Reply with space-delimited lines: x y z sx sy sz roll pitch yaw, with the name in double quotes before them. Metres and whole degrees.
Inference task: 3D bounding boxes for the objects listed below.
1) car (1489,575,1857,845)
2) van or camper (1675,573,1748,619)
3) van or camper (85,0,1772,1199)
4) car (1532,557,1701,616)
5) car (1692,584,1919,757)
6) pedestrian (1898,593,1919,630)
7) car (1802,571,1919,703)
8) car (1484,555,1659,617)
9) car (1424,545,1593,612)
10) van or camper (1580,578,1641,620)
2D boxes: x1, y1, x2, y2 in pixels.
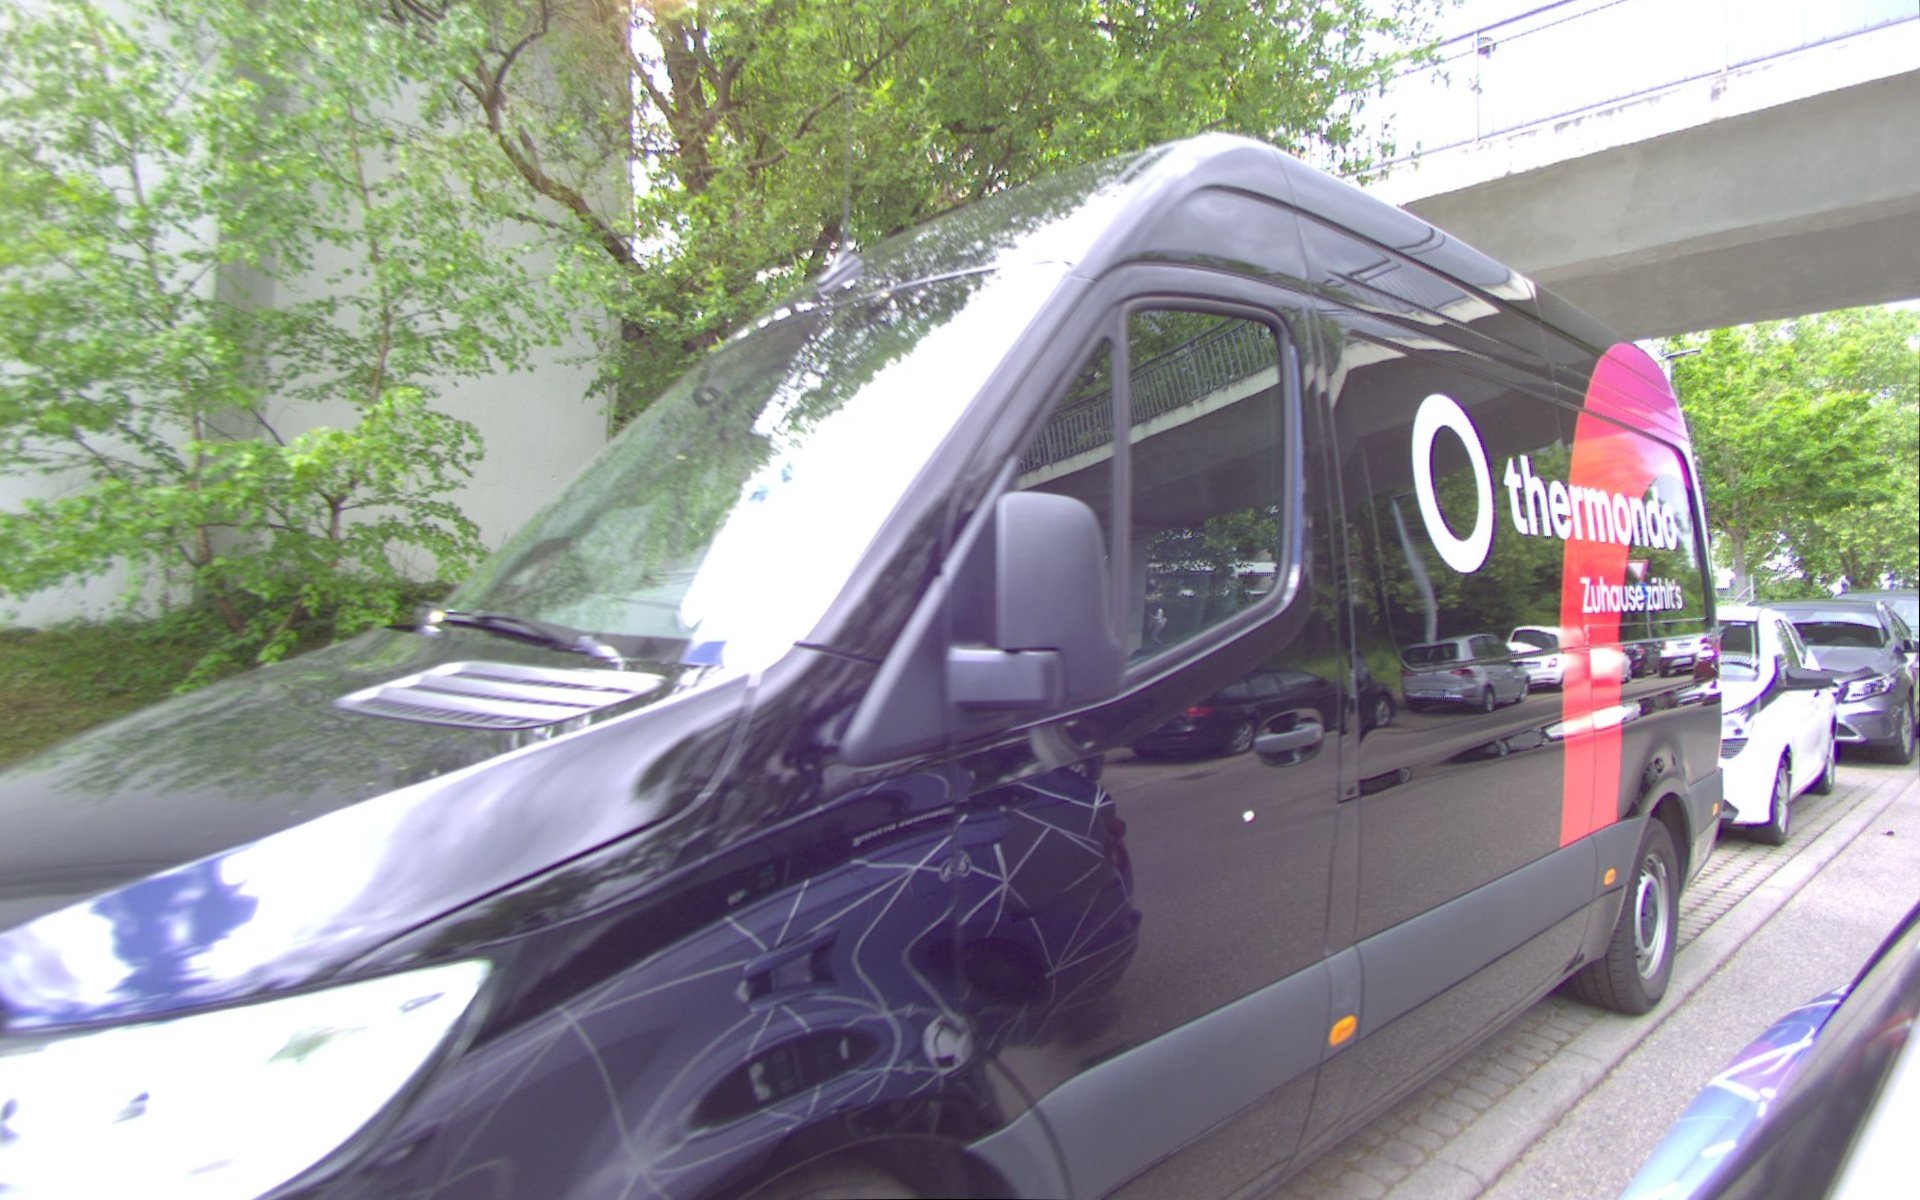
"car" 5.296 0.618 7.378 3.274 1.515 1.564 0 0 -43
"van or camper" 49.107 -0.218 66.275 2.083 2.835 4.461 0 -2 12
"van or camper" 0.741 0.040 3.267 5.375 2.554 1.997 0 1 -41
"car" 18.007 -0.312 27.960 1.649 1.458 3.668 1 -2 -18
"car" 9.405 0.611 10.833 4.047 1.515 1.702 0 0 -41
"pedestrian" 43.145 0.533 45.756 0.580 1.678 0.873 1 -3 -25
"car" 13.770 0.487 14.702 4.296 1.699 1.816 1 0 -43
"car" 16.175 -0.310 27.004 1.649 1.440 3.806 1 -2 -18
"car" 13.977 -0.479 26.027 1.649 1.517 3.668 1 -2 -18
"van or camper" 45.392 -0.025 70.716 2.083 2.835 4.461 0 -2 12
